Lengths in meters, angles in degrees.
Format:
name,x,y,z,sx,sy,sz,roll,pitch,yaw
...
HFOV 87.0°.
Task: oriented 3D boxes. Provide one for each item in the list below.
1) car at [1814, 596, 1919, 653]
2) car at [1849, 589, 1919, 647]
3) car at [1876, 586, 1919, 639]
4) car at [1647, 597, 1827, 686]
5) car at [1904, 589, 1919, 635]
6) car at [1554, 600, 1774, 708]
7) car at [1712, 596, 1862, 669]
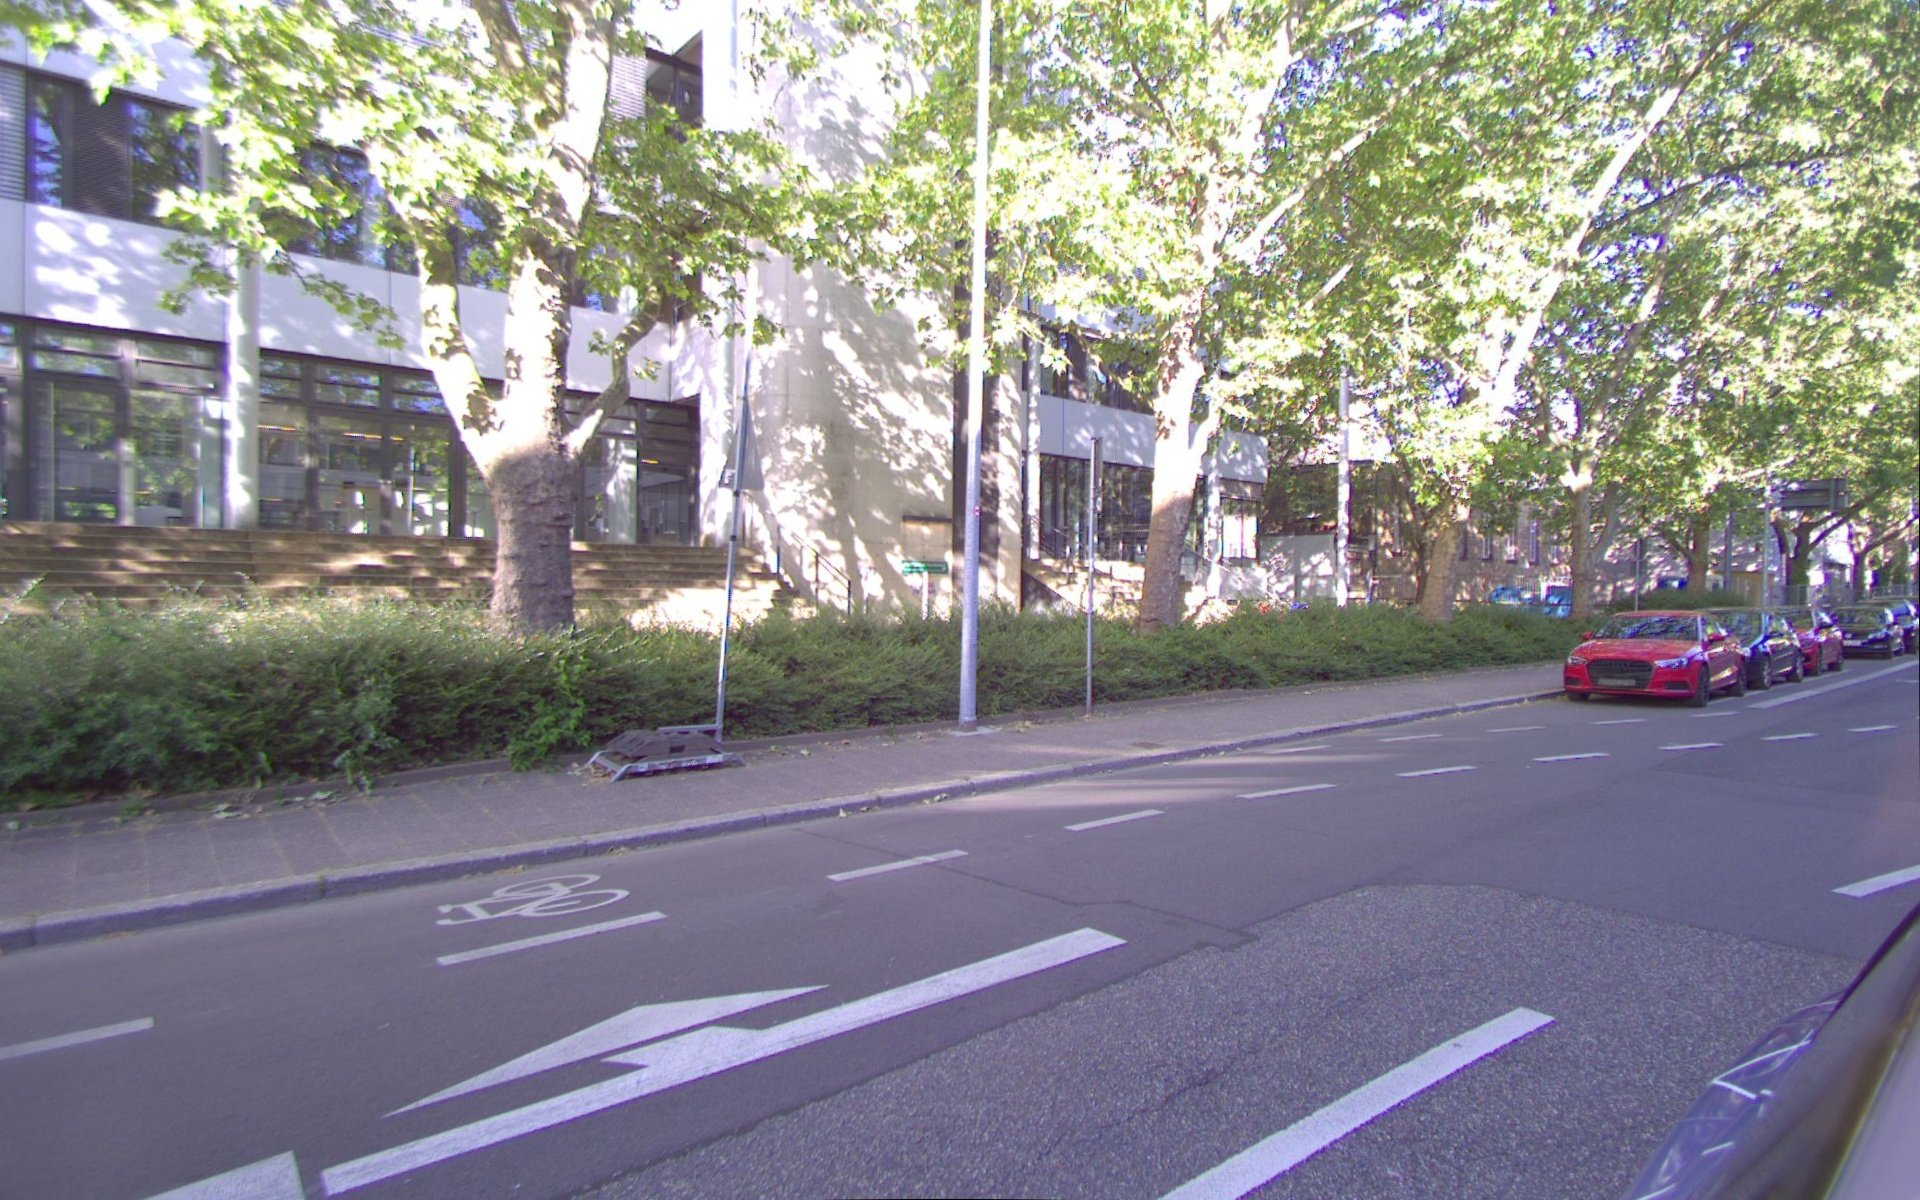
name,x,y,z,sx,sy,sz,roll,pitch,yaw
car,25.782,0.625,28.604,4.403,1.469,1.865,0,0,-41
car,29.562,0.518,31.799,4.403,1.689,1.865,0,0,-41
car,33.900,0.399,35.689,4.403,1.781,1.865,0,0,-41
car,14.757,0.696,19.134,4.403,1.469,1.865,0,0,-41
car,38.866,0.449,39.958,4.403,1.781,1.865,0,0,-41
car,11.310,0.742,16.133,4.403,1.469,1.865,0,0,-41
car,18.426,0.641,22.471,4.403,1.469,1.865,0,0,-41
